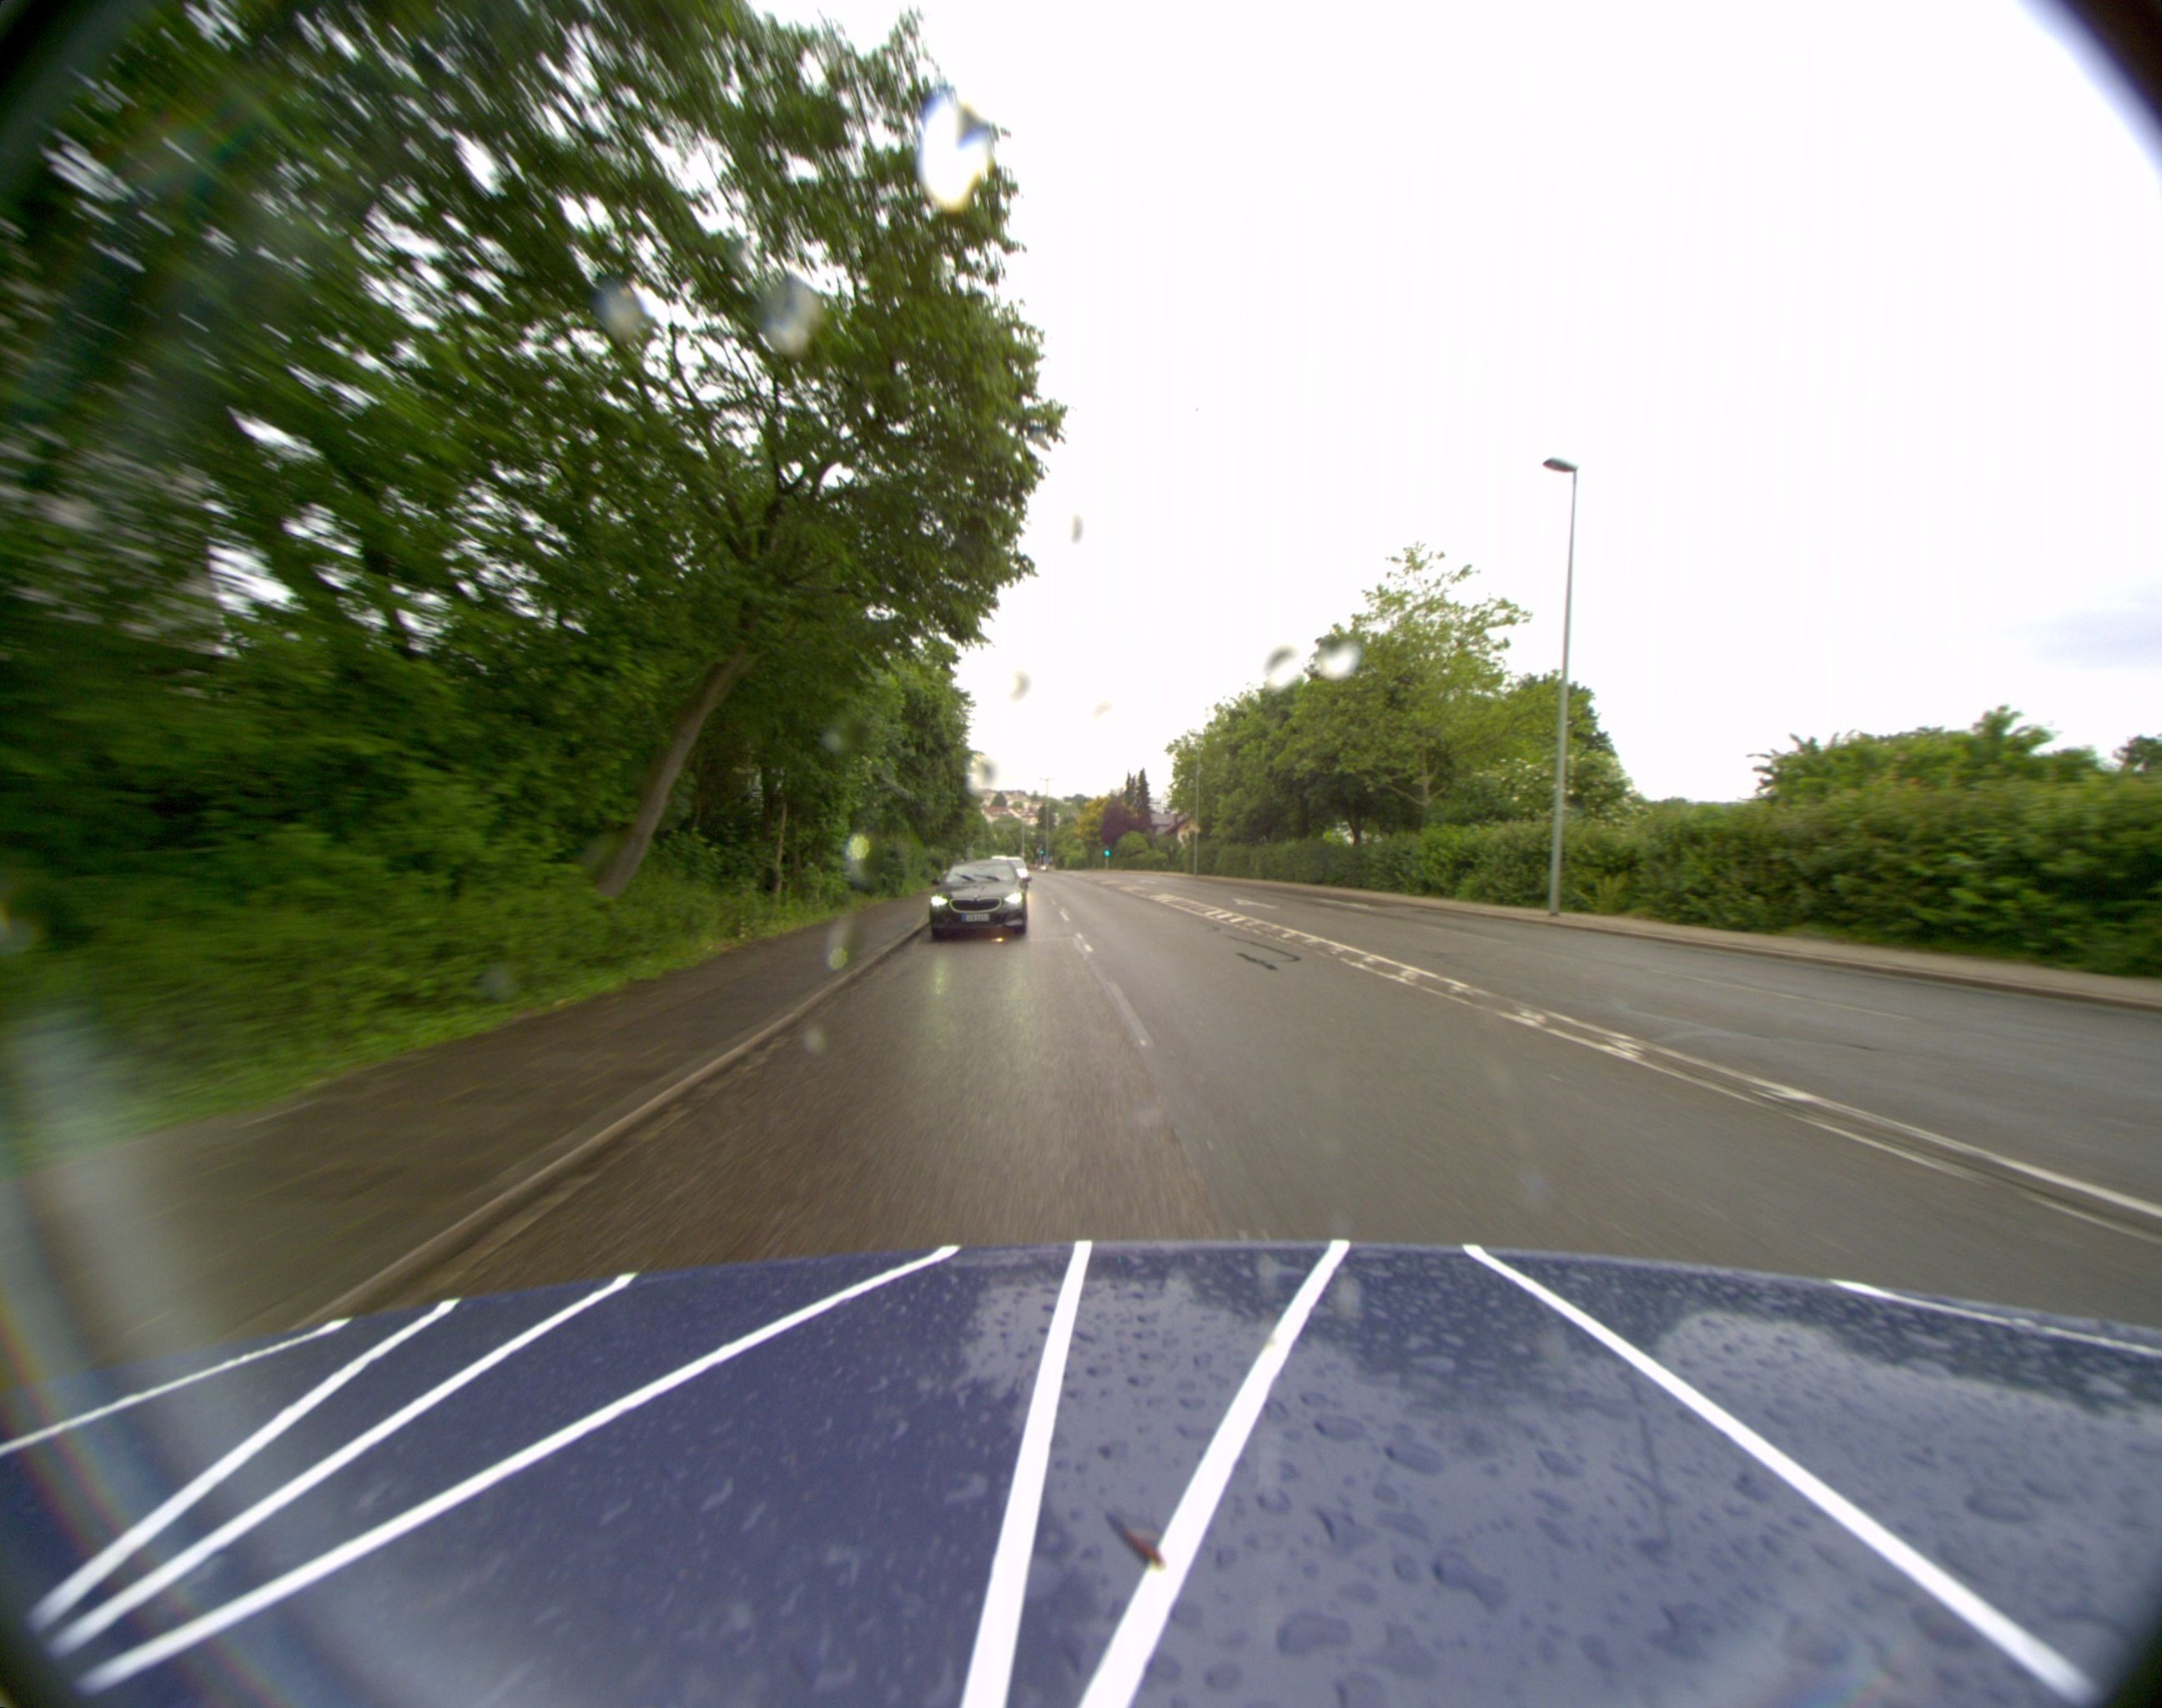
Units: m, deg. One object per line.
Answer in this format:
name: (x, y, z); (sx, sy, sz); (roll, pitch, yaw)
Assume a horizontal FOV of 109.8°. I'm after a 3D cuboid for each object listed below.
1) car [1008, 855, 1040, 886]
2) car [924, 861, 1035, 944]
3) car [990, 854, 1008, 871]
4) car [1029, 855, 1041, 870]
car: (-2.868, 0.810, 38.910); (1.551, 1.505, 4.282); (0, 0, -3)
car: (-2.048, 0.938, 16.479); (1.845, 1.371, 4.282); (-3, 1, -1)
car: (-8.325, 0.837, 76.994); (1.704, 1.670, 4.280); (0, 0, -7)
car: (-6.088, 1.108, 100.828); (1.551, 1.812, 4.281); (0, 0, -5)
